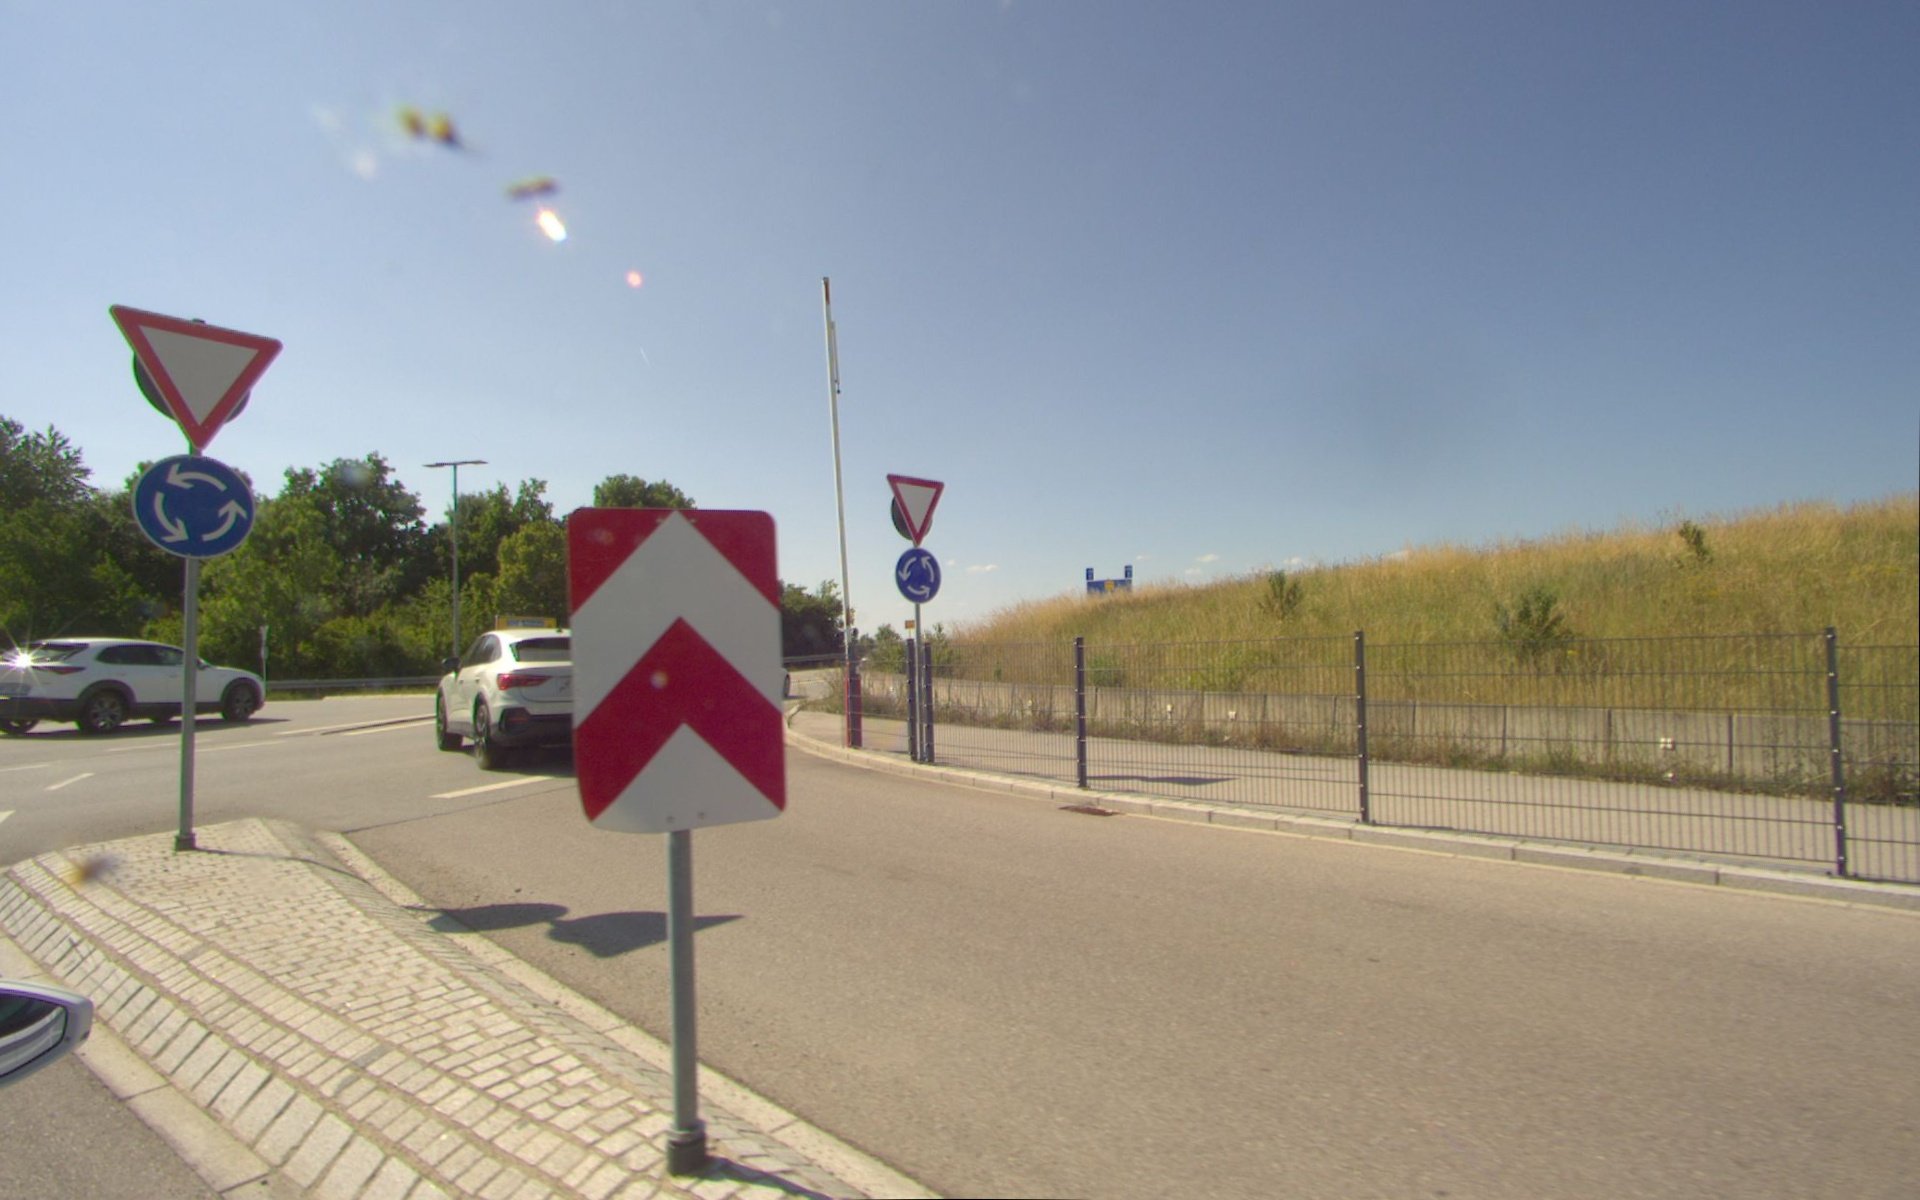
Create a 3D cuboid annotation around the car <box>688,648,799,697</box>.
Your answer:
[{"bbox_3d":[-6.468,2.148,30.453,1.544,1.368,4.340,-1,-3,14],"label":"car"}]

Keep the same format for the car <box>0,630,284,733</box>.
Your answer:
[{"bbox_3d":[-14.341,1.337,17.460,1.757,1.549,4.288,-1,-2,9],"label":"car"}]

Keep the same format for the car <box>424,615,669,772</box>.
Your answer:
[{"bbox_3d":[-5.332,1.053,12.581,1.825,1.616,4.294,1,-2,-37],"label":"car"}]
